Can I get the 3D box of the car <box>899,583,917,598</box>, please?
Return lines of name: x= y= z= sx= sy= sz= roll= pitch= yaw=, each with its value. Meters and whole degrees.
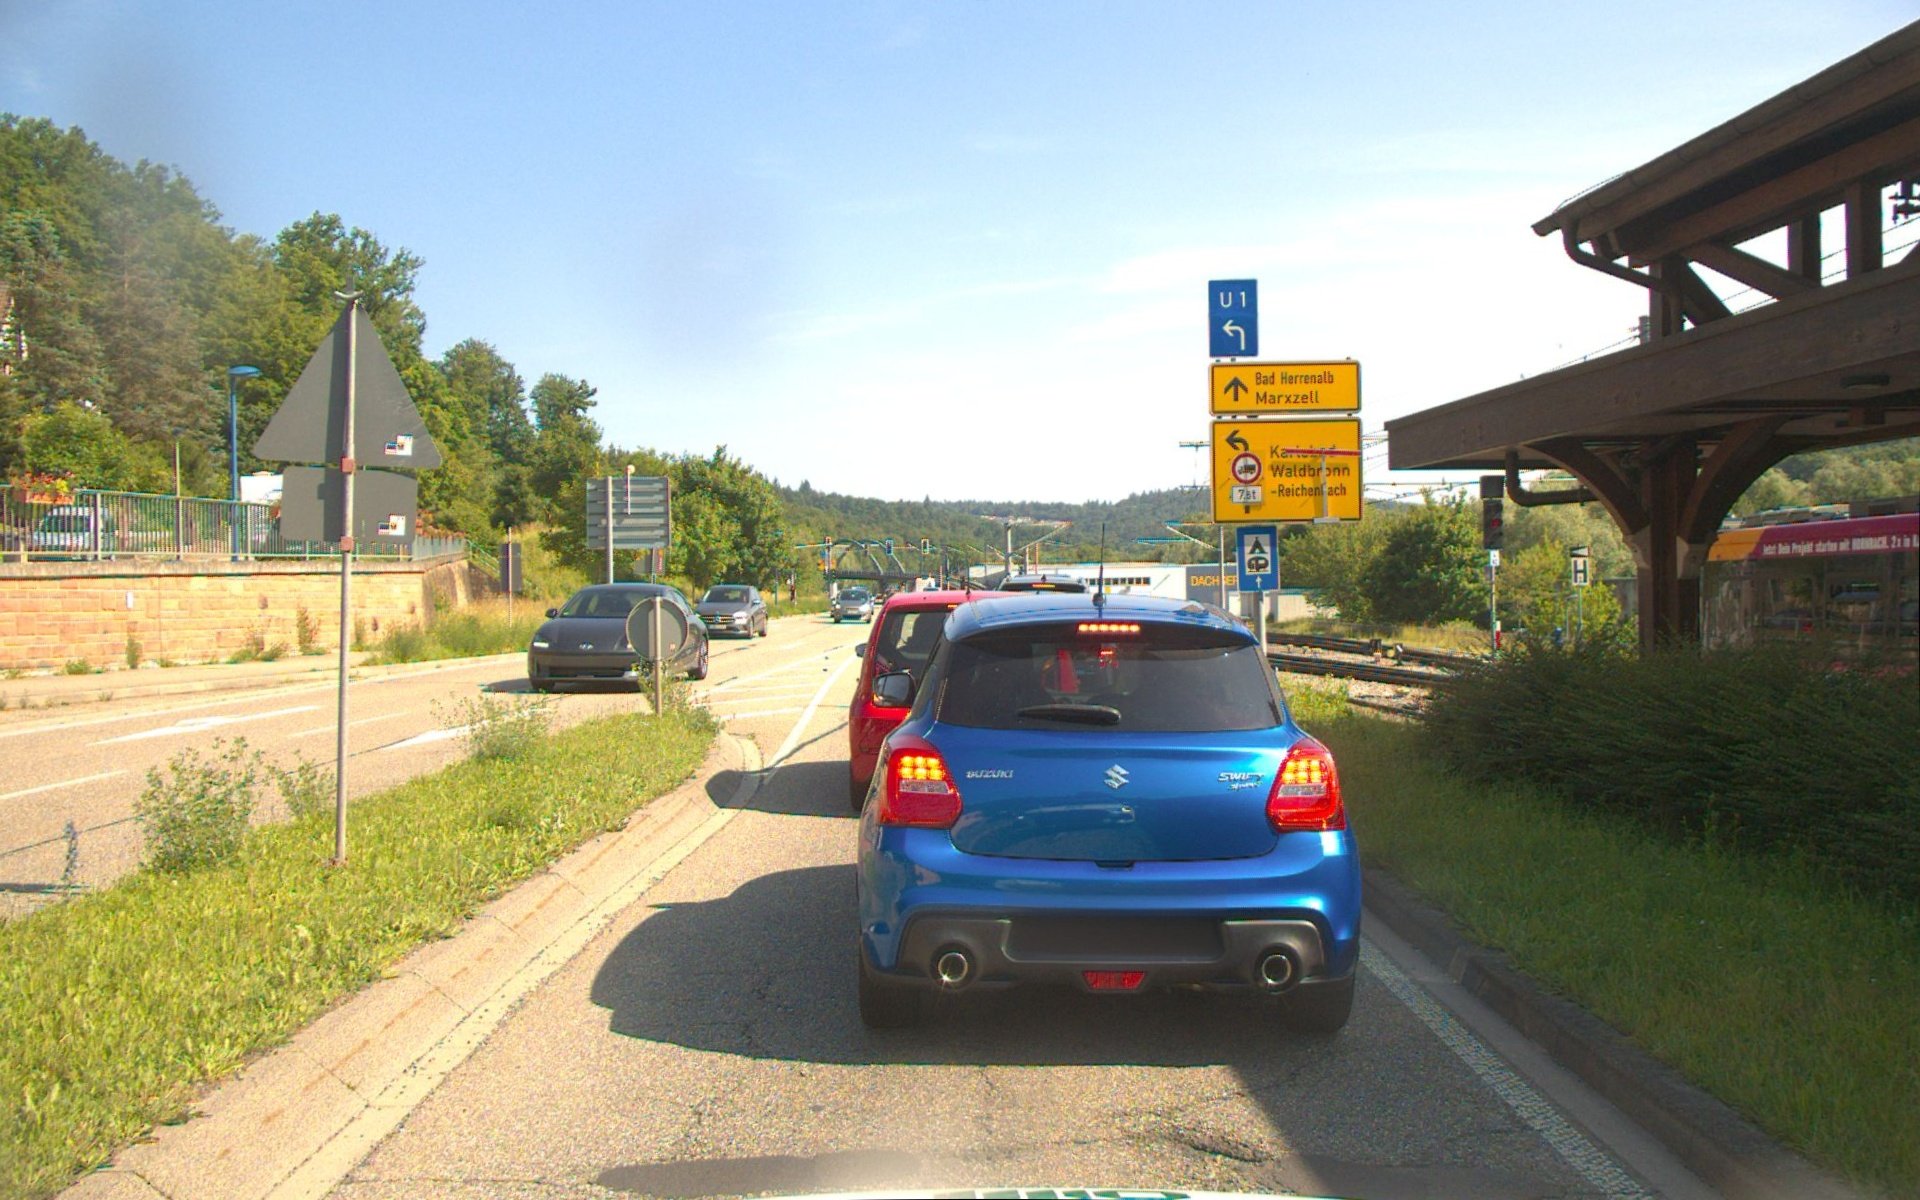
car: x=-5.933 y=-1.067 z=188.491 sx=1.953 sy=1.581 sz=4.214 roll=1 pitch=0 yaw=-1

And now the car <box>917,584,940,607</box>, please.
car: x=-2.735 y=-0.420 z=144.235 sx=1.953 sy=1.848 sz=4.000 roll=2 pitch=1 yaw=-1

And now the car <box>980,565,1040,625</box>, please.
car: x=1.795 y=-0.226 z=60.830 sx=1.953 sy=2.048 sz=4.000 roll=2 pitch=1 yaw=-1

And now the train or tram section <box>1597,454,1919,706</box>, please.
train or tram section: x=14.187 y=-0.303 z=26.474 sx=2.701 sy=3.422 sz=12.042 roll=2 pitch=1 yaw=-3

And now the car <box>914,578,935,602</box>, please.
car: x=-3.469 y=-0.962 z=160.960 sx=1.953 sy=2.181 sz=4.719 roll=1 pitch=0 yaw=-1

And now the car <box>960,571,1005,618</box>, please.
car: x=1.013 y=-0.288 z=77.420 sx=1.953 sy=2.048 sz=4.000 roll=2 pitch=1 yaw=-1

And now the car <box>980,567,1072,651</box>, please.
car: x=1.476 y=0.183 z=38.063 sx=1.952 sy=1.766 sz=4.001 roll=2 pitch=1 yaw=1

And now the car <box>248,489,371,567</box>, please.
car: x=-17.723 y=-1.939 z=45.287 sx=1.982 sy=1.953 sz=4.724 roll=2 pitch=1 yaw=-7

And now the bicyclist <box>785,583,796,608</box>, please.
bicyclist: x=-10.535 y=-0.278 z=102.767 sx=0.617 sy=1.533 sz=0.505 roll=2 pitch=1 yaw=-4

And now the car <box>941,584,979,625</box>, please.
car: x=-0.002 y=0.201 z=90.134 sx=1.953 sy=2.048 sz=4.000 roll=2 pitch=1 yaw=-1

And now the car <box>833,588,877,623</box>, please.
car: x=-4.644 y=0.231 z=73.537 sx=1.637 sy=1.466 sz=3.840 roll=1 pitch=0 yaw=1

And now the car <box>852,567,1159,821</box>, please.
car: x=0.321 y=0.602 z=12.702 sx=1.952 sy=1.598 sz=4.000 roll=1 pitch=0 yaw=1

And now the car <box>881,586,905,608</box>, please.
car: x=-5.661 y=-0.248 z=140.065 sx=1.953 sy=1.814 sz=3.999 roll=1 pitch=0 yaw=-1

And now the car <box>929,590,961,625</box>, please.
car: x=-1.002 y=0.453 z=106.026 sx=1.953 sy=2.048 sz=4.000 roll=2 pitch=1 yaw=-1

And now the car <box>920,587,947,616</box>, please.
car: x=-2.045 y=0.092 z=125.917 sx=1.953 sy=2.048 sz=4.000 roll=2 pitch=1 yaw=-1

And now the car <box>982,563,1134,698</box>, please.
car: x=1.321 y=0.382 z=24.070 sx=1.952 sy=1.716 sz=4.497 roll=2 pitch=1 yaw=1

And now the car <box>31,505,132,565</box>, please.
car: x=-26.141 y=-1.895 z=49.330 sx=1.864 sy=1.658 sz=3.982 roll=0 pitch=1 yaw=-16

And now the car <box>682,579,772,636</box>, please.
car: x=-6.856 y=0.187 z=49.182 sx=1.952 sy=1.591 sz=4.510 roll=0 pitch=1 yaw=1

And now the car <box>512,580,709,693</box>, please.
car: x=-5.009 y=0.458 z=24.388 sx=1.754 sy=1.496 sz=4.717 roll=0 pitch=1 yaw=2

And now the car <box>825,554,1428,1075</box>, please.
car: x=0.460 y=0.637 z=7.034 sx=1.830 sy=1.575 sz=3.999 roll=0 pitch=1 yaw=-2

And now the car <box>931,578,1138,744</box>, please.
car: x=0.735 y=0.558 z=17.977 sx=1.952 sy=1.558 sz=4.602 roll=0 pitch=1 yaw=1
